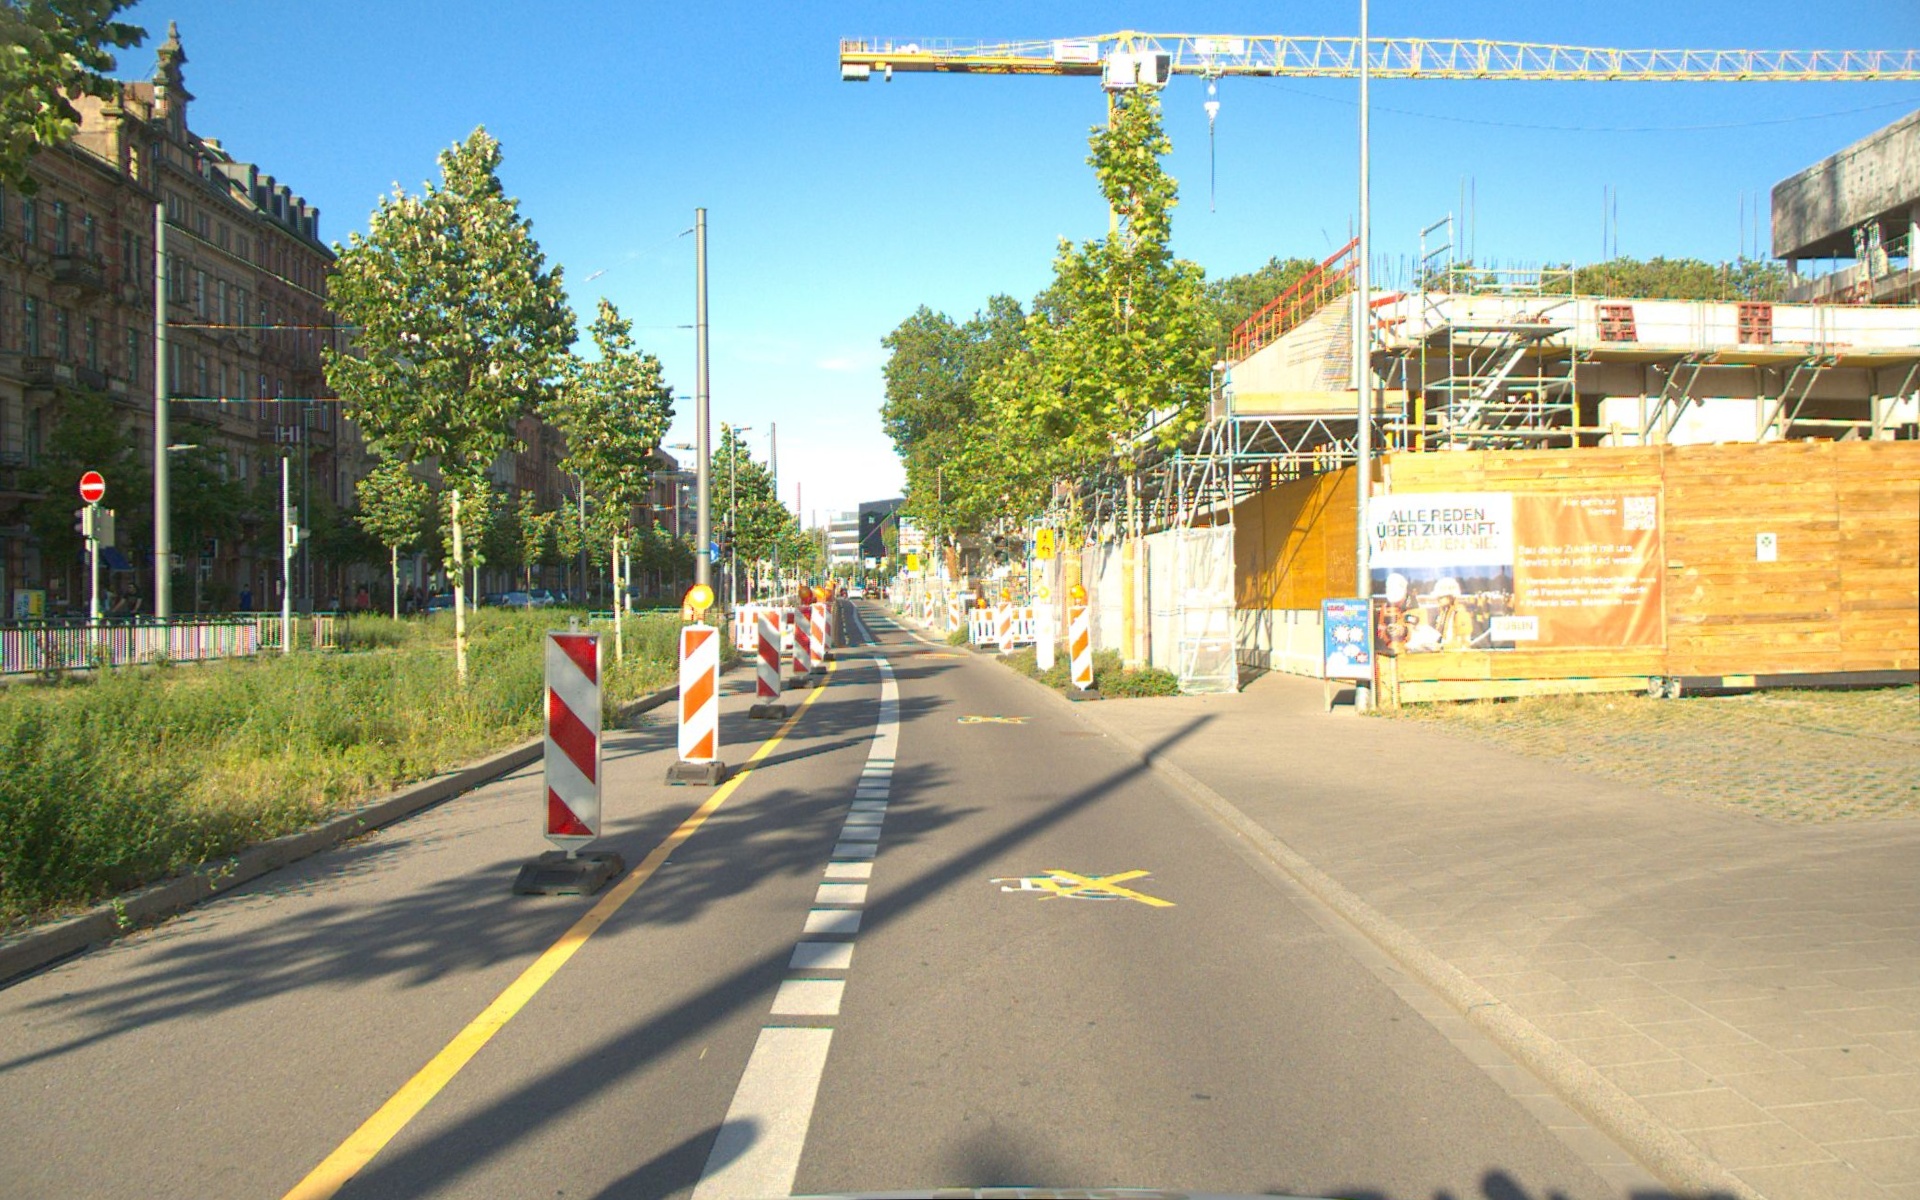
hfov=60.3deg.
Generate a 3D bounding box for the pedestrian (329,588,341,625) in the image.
[{"bbox_3d":[-30.782,0.328,81.465,0.359,1.795,0.406,2,0,-4],"label":"pedestrian"}]

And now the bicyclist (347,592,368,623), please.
[{"bbox_3d":[-24.065,0.294,66.078,0.624,1.261,0.738,0,0,-3],"label":"bicyclist"}]

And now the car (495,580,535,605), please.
[{"bbox_3d":[-28.418,-0.496,105.743,1.535,1.590,4.711,0,1,-4],"label":"car"}]

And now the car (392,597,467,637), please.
[{"bbox_3d":[-21.183,0.644,66.189,1.816,1.445,4.067,2,0,-3],"label":"car"}]

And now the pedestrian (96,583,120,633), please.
[{"bbox_3d":[-28.147,0.265,54.632,0.477,1.612,0.533,2,0,-4],"label":"pedestrian"}]

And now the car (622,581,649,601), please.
[{"bbox_3d":[-25.471,-0.711,129.819,1.563,1.509,3.621,0,0,-2],"label":"car"}]

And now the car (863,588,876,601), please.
[{"bbox_3d":[-12.765,-0.775,232.812,1.846,1.875,3.665,0,1,-4],"label":"car"}]

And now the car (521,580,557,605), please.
[{"bbox_3d":[-28.534,-0.527,112.216,1.535,1.590,4.710,0,1,-4],"label":"car"}]

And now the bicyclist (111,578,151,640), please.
[{"bbox_3d":[-22.885,0.241,45.652,0.681,1.686,0.882,0,0,-3],"label":"bicyclist"}]

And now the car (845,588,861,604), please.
[{"bbox_3d":[-12.503,-0.477,193.907,1.846,1.875,3.665,0,1,-4],"label":"car"}]

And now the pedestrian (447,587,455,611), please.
[{"bbox_3d":[-34.430,-0.044,111.840,0.452,1.612,0.434,2,0,-11],"label":"pedestrian"}]

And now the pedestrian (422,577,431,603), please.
[{"bbox_3d":[-33.102,-0.612,102.550,0.397,1.561,0.434,2,0,-4],"label":"pedestrian"}]

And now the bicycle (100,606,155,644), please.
[{"bbox_3d":[-22.871,0.677,45.467,0.681,0.995,1.826,0,0,-3],"label":"bicycle"}]

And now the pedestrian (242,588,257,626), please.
[{"bbox_3d":[-30.315,0.313,70.566,0.395,1.612,0.425,2,0,-4],"label":"pedestrian"}]

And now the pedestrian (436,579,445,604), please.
[{"bbox_3d":[-32.242,-0.536,102.664,0.397,1.559,0.434,2,0,-4],"label":"pedestrian"}]

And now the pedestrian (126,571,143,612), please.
[{"bbox_3d":[-32.712,-0.325,65.551,0.377,1.612,0.390,2,0,27],"label":"pedestrian"}]

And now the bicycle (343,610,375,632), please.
[{"bbox_3d":[-24.081,0.834,66.281,0.624,0.872,2.030,0,0,-3],"label":"bicycle"}]
